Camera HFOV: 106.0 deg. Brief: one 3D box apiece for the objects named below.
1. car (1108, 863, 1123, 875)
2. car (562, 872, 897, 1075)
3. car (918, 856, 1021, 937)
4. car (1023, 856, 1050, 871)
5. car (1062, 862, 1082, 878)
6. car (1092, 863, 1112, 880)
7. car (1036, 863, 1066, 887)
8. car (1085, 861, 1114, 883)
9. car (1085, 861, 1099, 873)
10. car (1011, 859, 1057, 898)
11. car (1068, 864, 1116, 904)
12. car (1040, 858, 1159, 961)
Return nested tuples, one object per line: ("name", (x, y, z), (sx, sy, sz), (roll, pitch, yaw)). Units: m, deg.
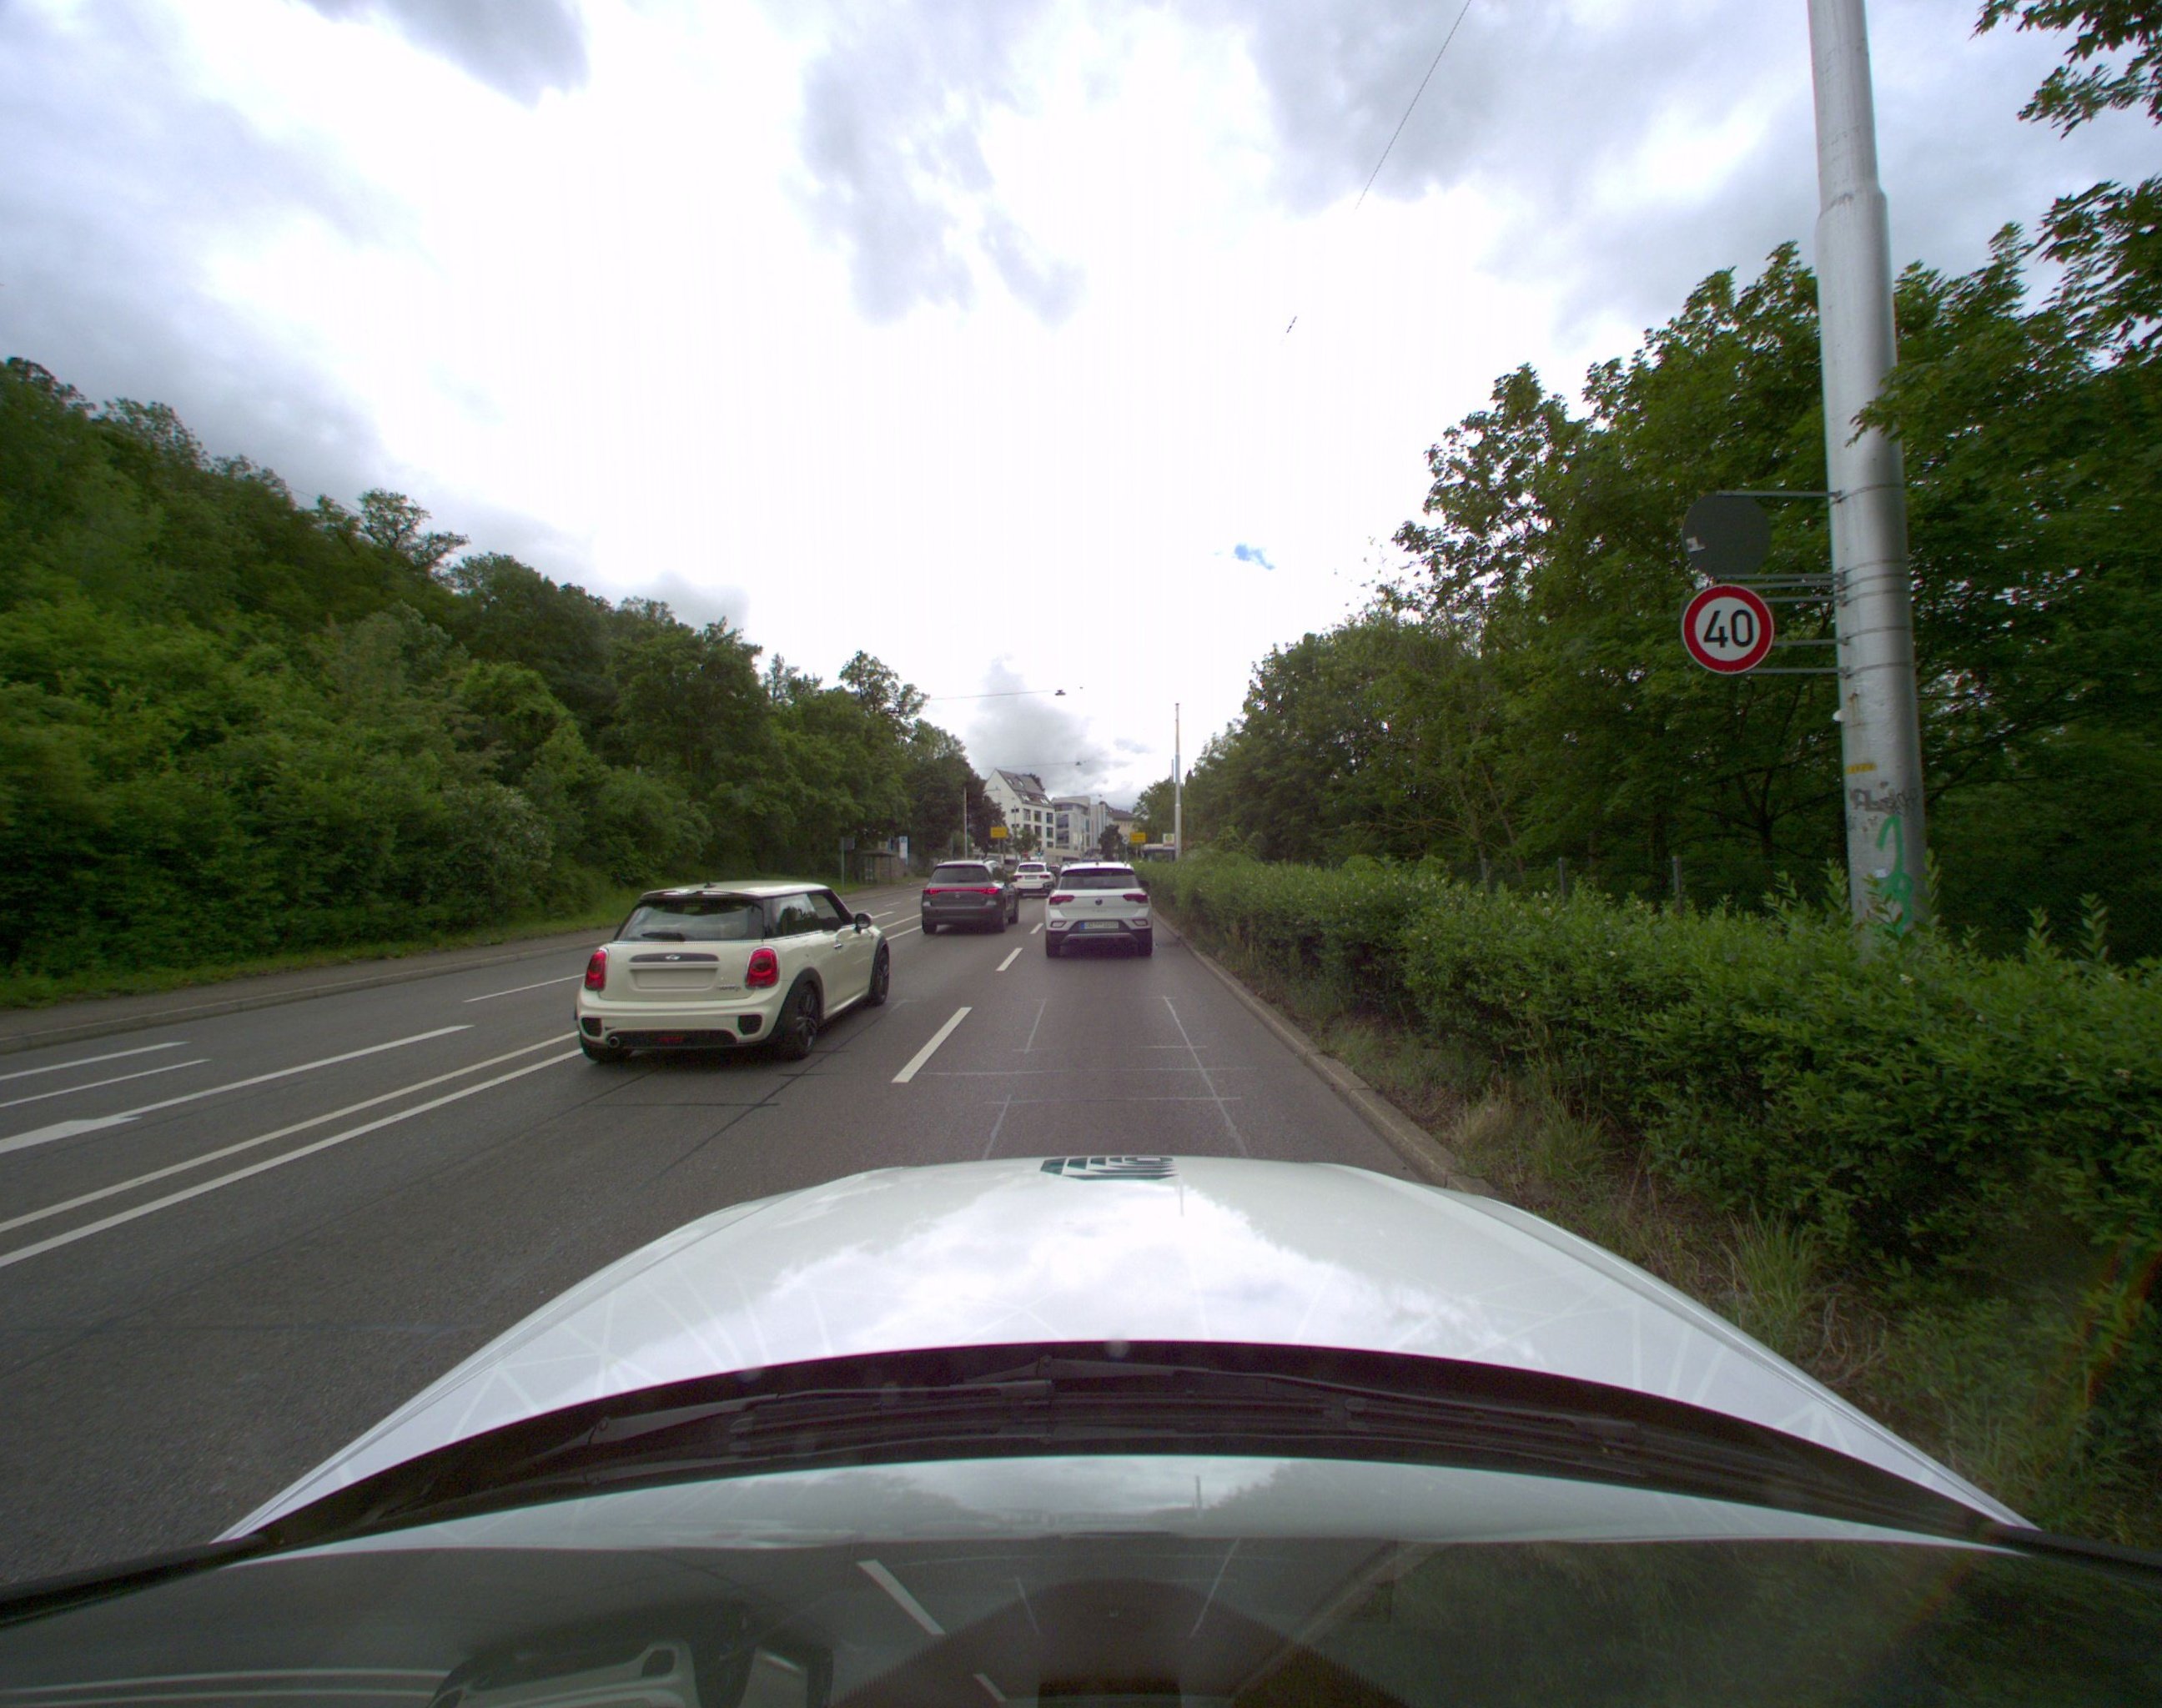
("car", (4.550, 1.952, 107.060), (1.852, 1.500, 4.055), (-2, -1, 1))
("car", (-2.983, 0.912, 7.762), (1.623, 1.393, 3.565), (-2, -1, 0))
("car", (-2.549, 0.937, 19.693), (1.807, 1.652, 4.634), (-2, -1, 0))
("car", (-7.767, 1.622, 142.481), (2.214, 2.568, 7.455), (-1, -1, 17))
("car", (-0.845, 1.550, 80.118), (1.852, 1.500, 4.054), (-2, -1, 0))
("car", (2.029, 1.692, 80.061), (1.852, 1.500, 4.054), (-2, -1, 0))
("car", (-2.036, 1.432, 56.187), (1.852, 1.500, 4.054), (-2, -1, 0))
("car", (1.391, 1.278, 59.644), (1.865, 1.501, 4.559), (2, -1, 3))
("car", (1.458, 1.705, 108.610), (1.852, 1.500, 4.054), (-2, -1, 0))
("car", (-2.115, 1.096, 38.063), (1.852, 1.652, 4.634), (-2, -1, 0))
("car", (0.429, 1.183, 33.883), (1.852, 1.500, 4.054), (-2, -1, 0))
("car", (0.288, 0.890, 14.537), (1.806, 1.539, 3.688), (-2, -1, 0))
